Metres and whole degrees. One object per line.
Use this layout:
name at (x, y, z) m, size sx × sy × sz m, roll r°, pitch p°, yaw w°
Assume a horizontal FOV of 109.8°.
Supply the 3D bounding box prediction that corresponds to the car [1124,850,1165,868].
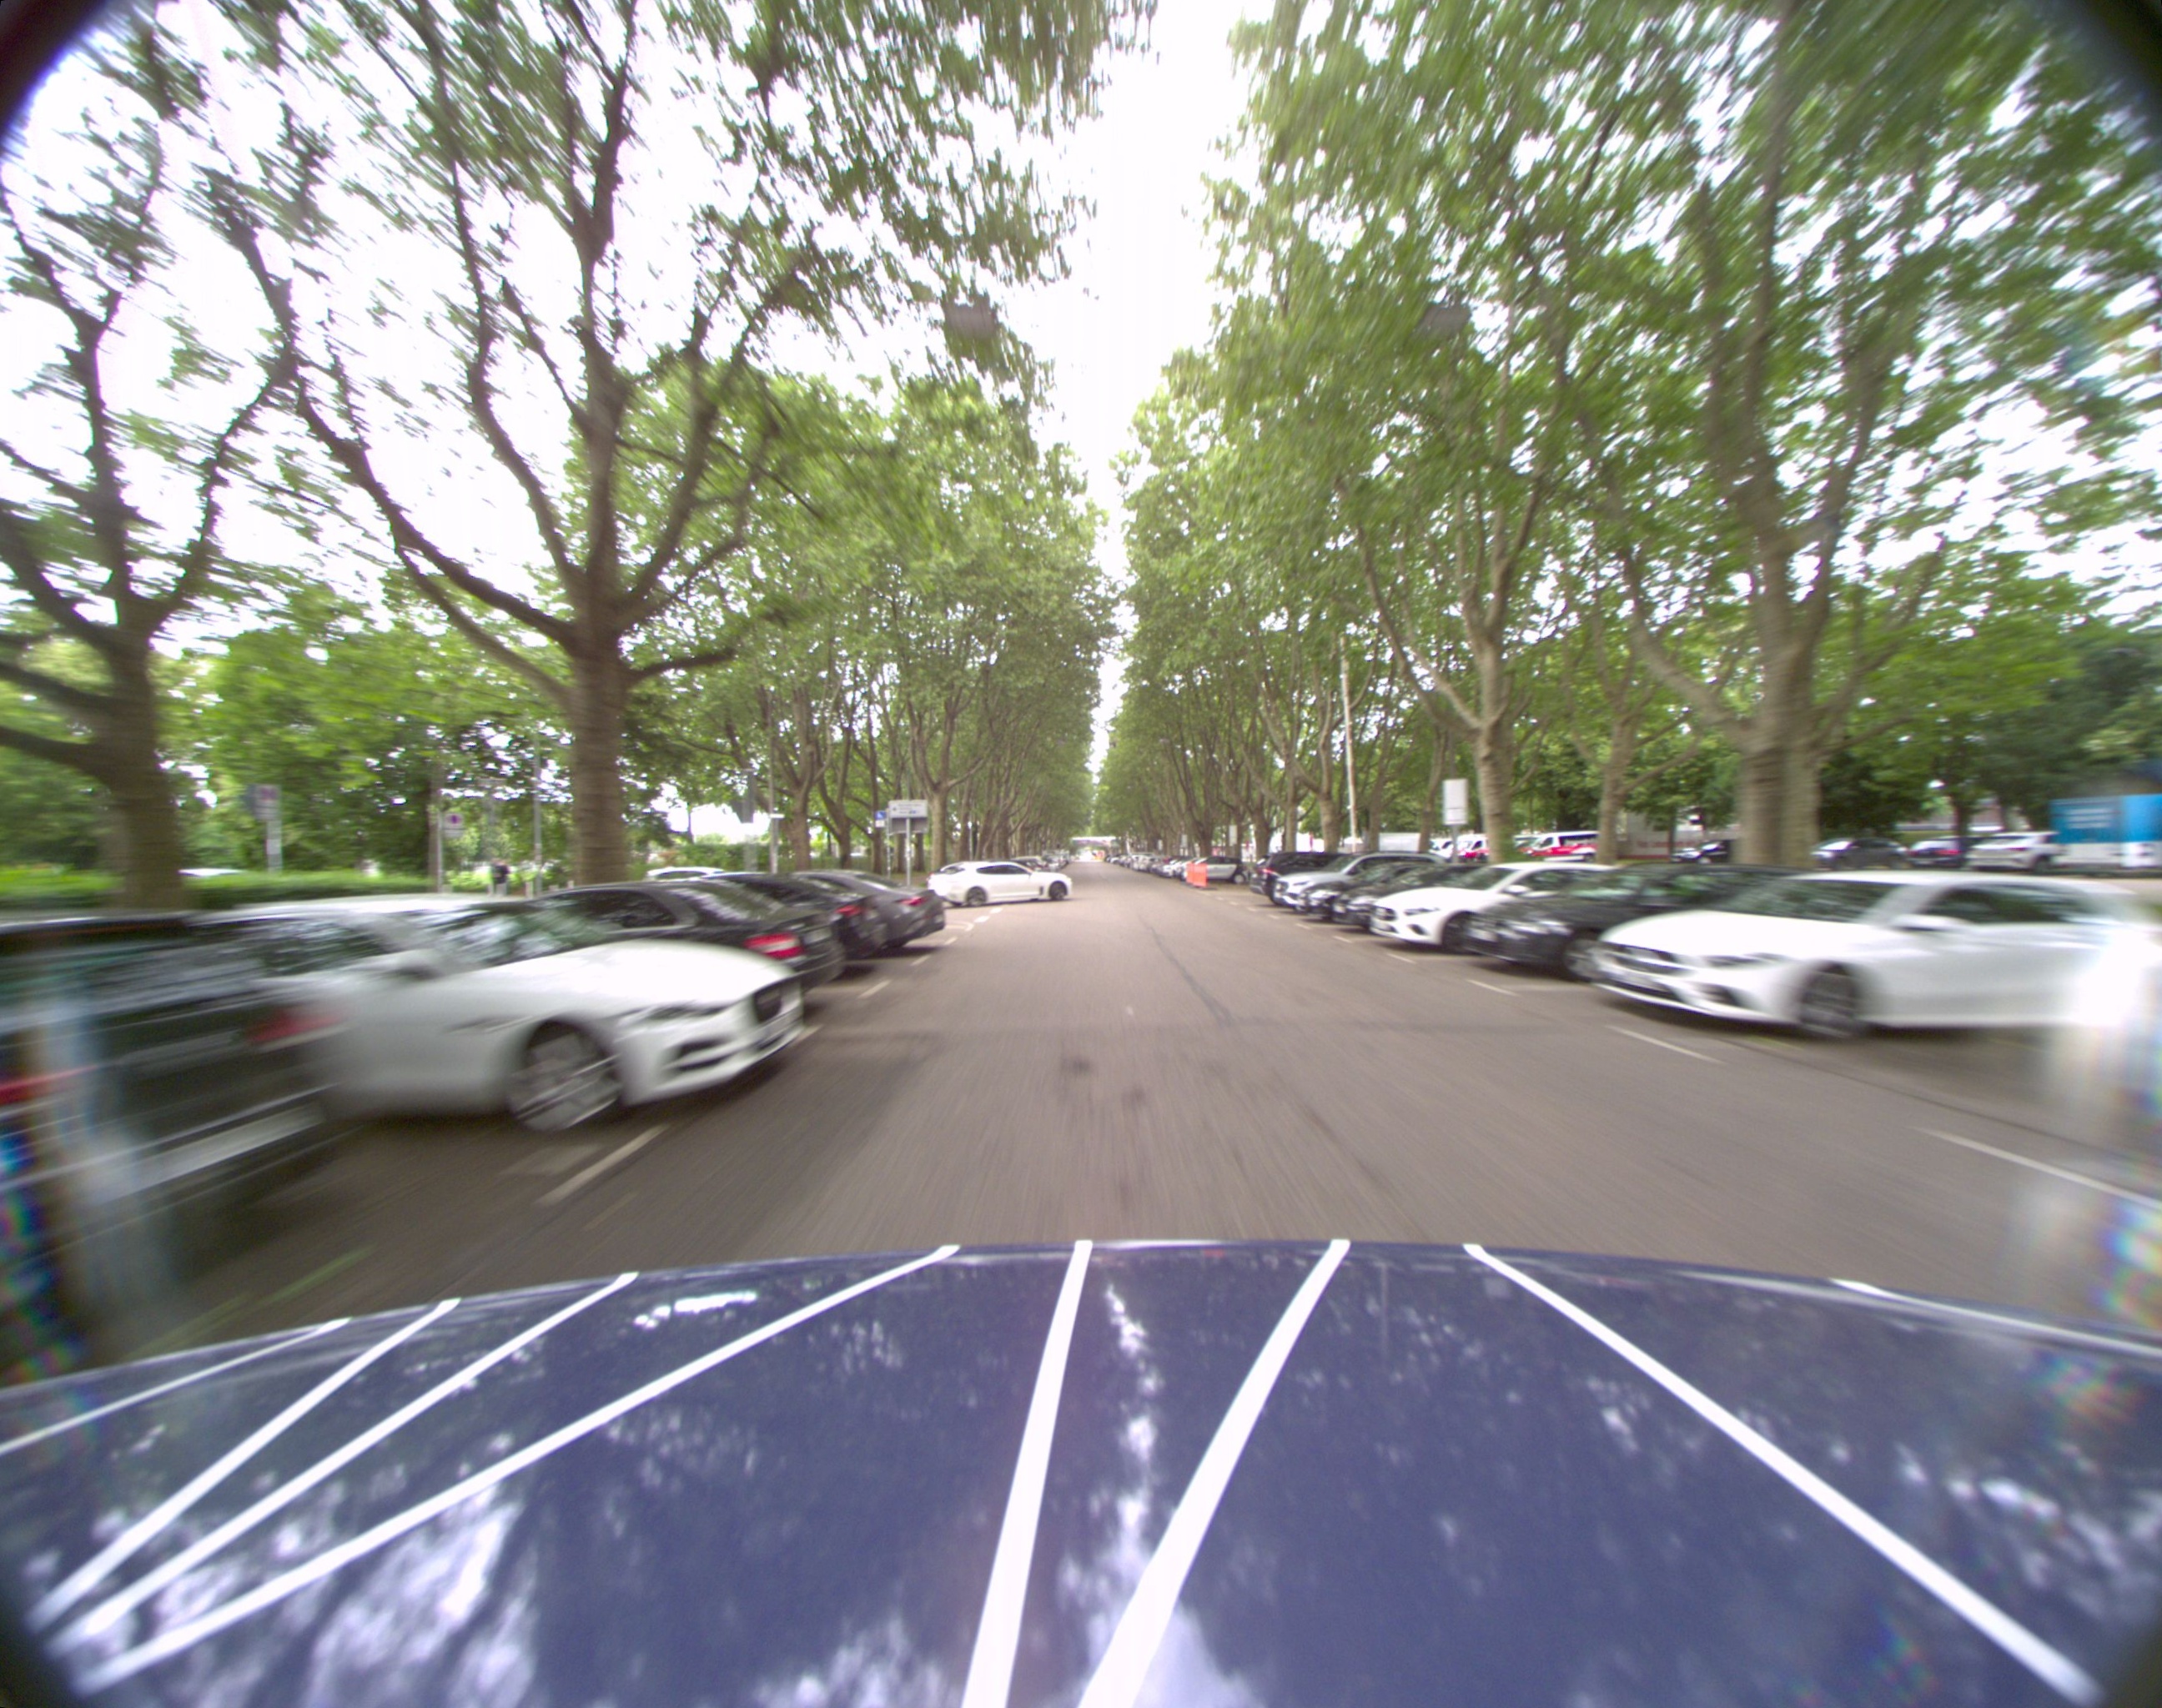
car at (7.232, 0.518, 86.031) m, size 4.491 × 1.740 × 2.001 m, roll -3°, pitch 0°, yaw 5°

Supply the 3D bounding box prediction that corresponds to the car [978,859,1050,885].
car at (-4.182, 1.114, 47.601) m, size 4.096 × 1.516 × 1.825 m, roll -1°, pitch 0°, yaw 10°

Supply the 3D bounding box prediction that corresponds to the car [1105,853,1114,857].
car at (7.224, 0.236, 192.871) m, size 2.307 × 0.919 × 1.132 m, roll -2°, pitch -2°, yaw -1°

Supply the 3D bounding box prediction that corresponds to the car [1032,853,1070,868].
car at (-3.921, 0.863, 99.727) m, size 4.674 × 1.740 × 2.001 m, roll -3°, pitch 0°, yaw 5°

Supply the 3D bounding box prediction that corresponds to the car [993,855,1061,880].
car at (-4.025, 1.009, 57.066) m, size 4.674 × 1.514 × 2.001 m, roll -3°, pitch 0°, yaw 5°

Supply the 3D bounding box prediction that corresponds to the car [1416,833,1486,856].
car at (34.717, -0.897, 71.426) m, size 5.467 × 2.009 × 2.393 m, roll 1°, pitch 1°, yaw -2°

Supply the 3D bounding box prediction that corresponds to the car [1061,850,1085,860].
car at (-1.760, 0.153, 159.711) m, size 4.919 × 1.817 × 2.000 m, roll -2°, pitch -2°, yaw -3°

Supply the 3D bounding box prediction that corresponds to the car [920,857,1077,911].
car at (-2.700, 0.937, 25.065) m, size 4.685 × 1.375 × 1.996 m, roll -4°, pitch 0°, yaw -28°

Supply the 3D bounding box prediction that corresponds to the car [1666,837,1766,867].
car at (34.539, -0.105, 41.385) m, size 3.998 × 1.478 × 1.800 m, roll -2°, pitch 1°, yaw -3°

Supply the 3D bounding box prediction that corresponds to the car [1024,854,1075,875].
car at (-3.114, 1.054, 74.610) m, size 4.674 × 1.740 × 2.001 m, roll -3°, pitch 0°, yaw 5°

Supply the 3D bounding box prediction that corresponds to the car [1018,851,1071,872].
car at (-3.461, 0.703, 72.239) m, size 4.674 × 1.740 × 2.001 m, roll -3°, pitch 0°, yaw 5°

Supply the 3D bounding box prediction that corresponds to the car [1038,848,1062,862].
car at (-5.459, 0.121, 134.624) m, size 3.997 × 2.274 × 2.000 m, roll -2°, pitch 1°, yaw 1°

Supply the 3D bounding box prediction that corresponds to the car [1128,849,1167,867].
car at (7.858, 0.452, 89.472) m, size 4.491 × 1.740 × 2.001 m, roll -3°, pitch 0°, yaw 5°

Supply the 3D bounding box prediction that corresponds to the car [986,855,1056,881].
car at (-4.278, 0.985, 54.700) m, size 4.674 × 1.514 × 2.001 m, roll -3°, pitch 0°, yaw 5°

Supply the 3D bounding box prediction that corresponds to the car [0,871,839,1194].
car at (-4.295, 1.023, 5.216) m, size 4.535 × 1.613 × 2.054 m, roll -2°, pitch 0°, yaw 1°

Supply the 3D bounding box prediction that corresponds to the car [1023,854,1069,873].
car at (-3.749, 0.988, 81.624) m, size 4.674 × 1.740 × 2.001 m, roll -3°, pitch 0°, yaw 5°

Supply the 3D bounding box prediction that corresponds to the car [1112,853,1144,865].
car at (6.325, 0.641, 102.079) m, size 3.999 × 1.422 × 2.000 m, roll -2°, pitch -2°, yaw -6°

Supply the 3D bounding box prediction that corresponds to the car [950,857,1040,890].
car at (-4.355, 0.978, 39.023) m, size 4.383 × 1.469 × 1.999 m, roll -2°, pitch 1°, yaw -1°

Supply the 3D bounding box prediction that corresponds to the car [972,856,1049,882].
car at (-4.619, 0.999, 50.257) m, size 4.673 × 1.514 × 1.905 m, roll -2°, pitch 0°, yaw 6°

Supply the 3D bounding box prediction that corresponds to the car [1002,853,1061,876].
car at (-4.148, 0.874, 64.591) m, size 4.674 × 1.602 × 2.001 m, roll -3°, pitch 0°, yaw 5°

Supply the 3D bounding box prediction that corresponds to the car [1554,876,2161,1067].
car at (7.249, 0.969, 7.100) m, size 4.420 × 1.435 × 2.047 m, roll 0°, pitch 0°, yaw -3°

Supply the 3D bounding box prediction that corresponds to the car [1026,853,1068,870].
car at (-3.960, 0.880, 88.870) m, size 4.674 × 1.740 × 2.001 m, roll -3°, pitch 0°, yaw 5°

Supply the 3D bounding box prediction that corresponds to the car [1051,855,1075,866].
car at (-3.085, 1.136, 127.699) m, size 3.998 × 1.641 × 1.999 m, roll -2°, pitch 1°, yaw -3°

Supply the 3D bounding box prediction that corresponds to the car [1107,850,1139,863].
car at (6.689, 0.357, 122.056) m, size 4.919 × 1.817 × 2.000 m, roll -2°, pitch -2°, yaw -3°

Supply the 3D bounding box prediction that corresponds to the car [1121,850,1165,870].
car at (6.504, 0.618, 79.808) m, size 4.491 × 1.740 × 2.001 m, roll -3°, pitch 0°, yaw 5°

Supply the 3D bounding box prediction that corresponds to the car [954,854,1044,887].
car at (-4.468, 0.908, 42.024) m, size 4.676 × 1.514 × 2.000 m, roll -3°, pitch 0°, yaw -1°

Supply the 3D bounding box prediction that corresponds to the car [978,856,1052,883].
car at (-4.526, 1.041, 52.406) m, size 4.673 × 1.514 × 2.001 m, roll -3°, pitch 0°, yaw 6°

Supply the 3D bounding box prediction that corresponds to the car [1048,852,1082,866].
car at (-2.313, 0.697, 112.484) m, size 4.674 × 1.740 × 2.001 m, roll -3°, pitch 0°, yaw 5°

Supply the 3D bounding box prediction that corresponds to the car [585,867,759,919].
car at (-12.354, 1.151, 23.154) m, size 4.288 × 1.453 × 1.784 m, roll -1°, pitch 0°, yaw -1°

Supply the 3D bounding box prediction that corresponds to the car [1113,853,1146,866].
car at (6.182, 0.690, 96.924) m, size 3.997 × 1.422 × 2.001 m, roll -2°, pitch -2°, yaw -1°

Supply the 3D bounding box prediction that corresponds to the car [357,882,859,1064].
car at (-4.395, 1.077, 7.500) m, size 3.840 × 1.409 × 1.718 m, roll -2°, pitch 0°, yaw 1°

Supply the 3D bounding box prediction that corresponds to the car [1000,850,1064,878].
car at (-3.830, 0.779, 59.651) m, size 4.674 × 1.891 × 2.001 m, roll -3°, pitch 0°, yaw 5°

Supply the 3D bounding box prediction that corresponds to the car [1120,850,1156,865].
car at (7.999, 0.507, 106.856) m, size 4.919 × 1.817 × 2.000 m, roll -2°, pitch -2°, yaw -3°

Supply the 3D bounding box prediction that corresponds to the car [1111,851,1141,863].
car at (7.621, 0.495, 129.908) m, size 4.919 × 1.817 × 2.000 m, roll -2°, pitch -2°, yaw -3°

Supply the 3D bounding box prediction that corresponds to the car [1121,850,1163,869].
car at (6.695, 0.587, 83.772) m, size 4.491 × 1.740 × 2.001 m, roll -3°, pitch 0°, yaw 5°
